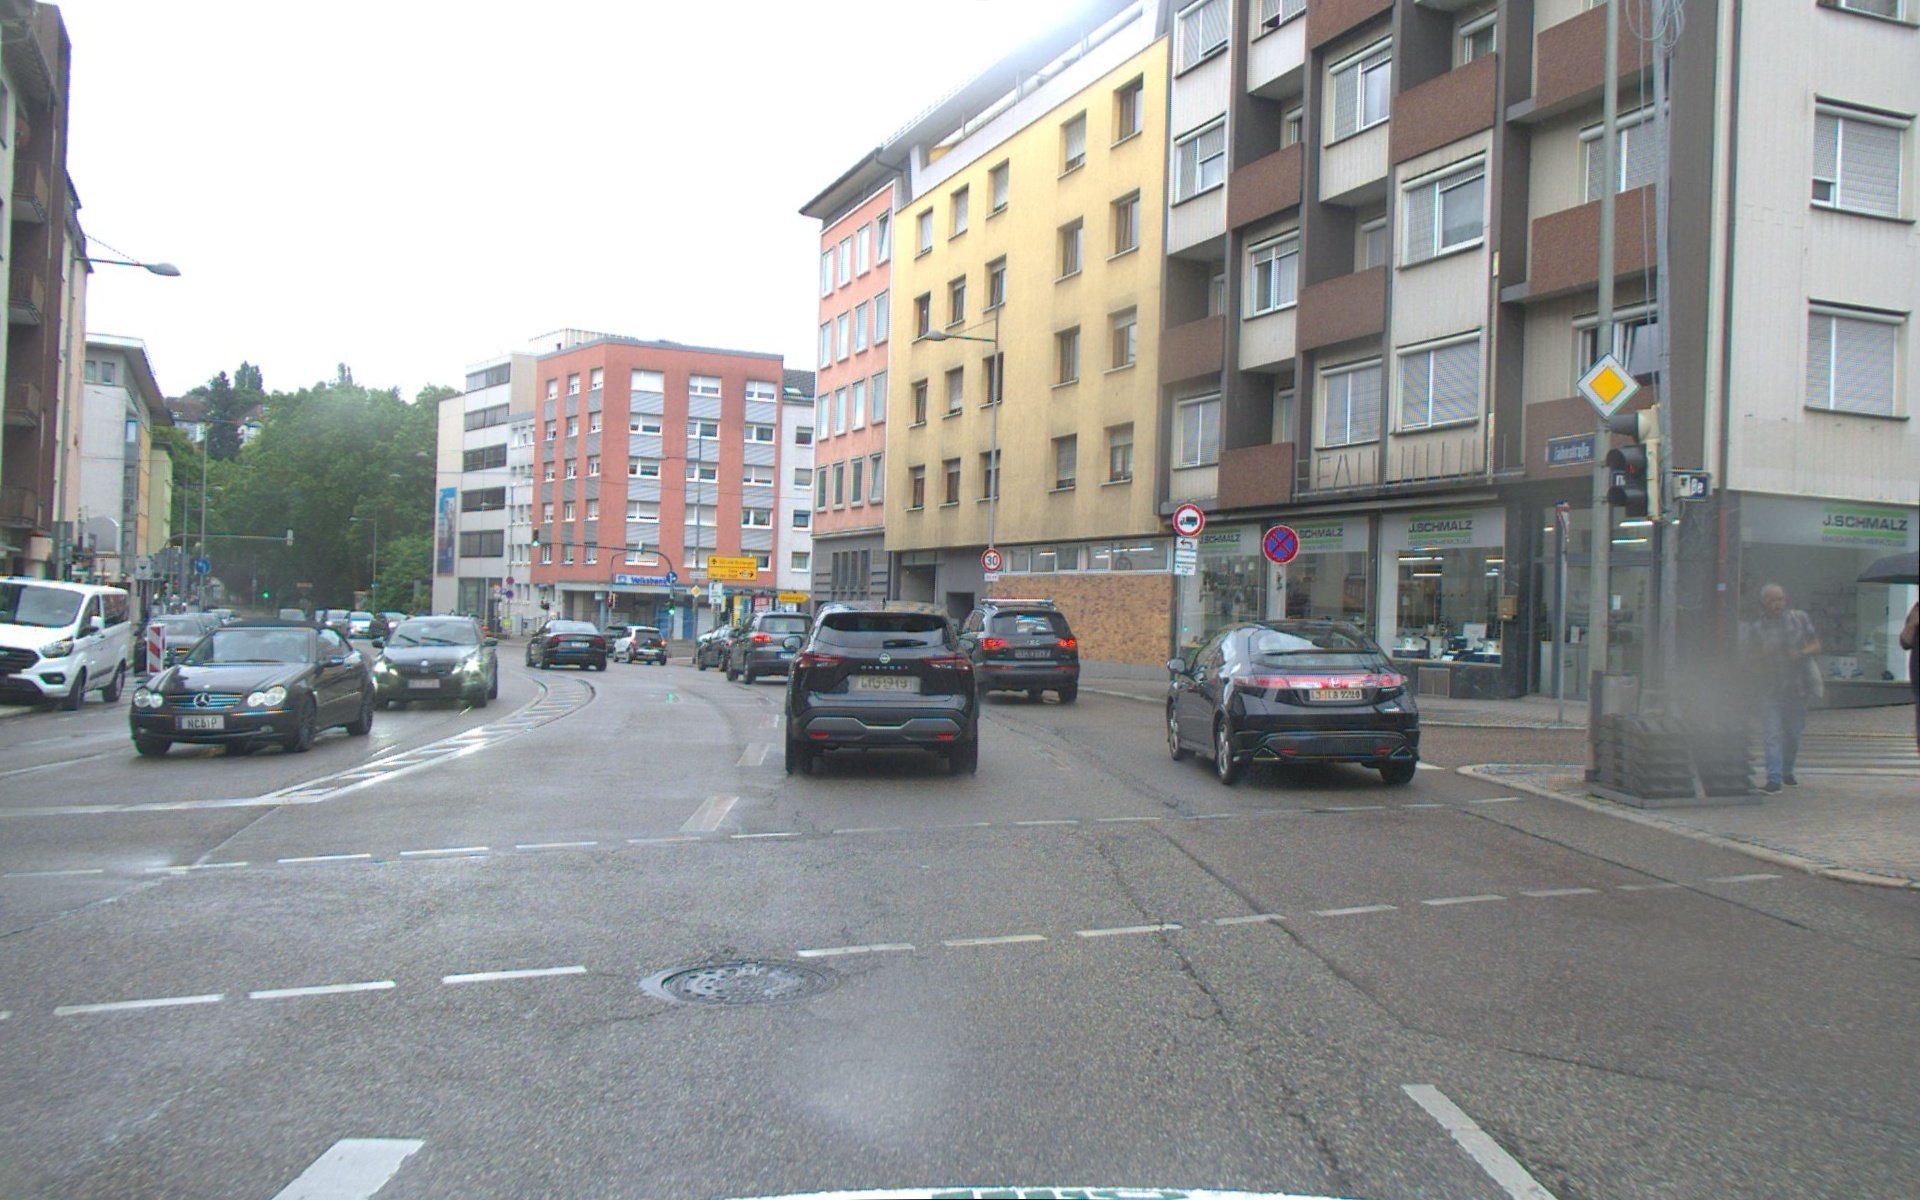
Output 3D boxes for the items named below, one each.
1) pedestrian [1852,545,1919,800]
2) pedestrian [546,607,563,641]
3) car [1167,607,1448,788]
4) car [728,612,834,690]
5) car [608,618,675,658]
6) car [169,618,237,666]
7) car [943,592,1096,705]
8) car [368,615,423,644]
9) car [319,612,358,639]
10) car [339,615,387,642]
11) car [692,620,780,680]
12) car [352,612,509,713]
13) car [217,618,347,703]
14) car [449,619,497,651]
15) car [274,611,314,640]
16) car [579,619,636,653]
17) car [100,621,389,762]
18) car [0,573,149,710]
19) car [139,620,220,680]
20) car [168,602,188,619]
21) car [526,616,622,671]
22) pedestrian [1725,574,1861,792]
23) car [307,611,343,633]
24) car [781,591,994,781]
[{"bbox_3d":[7.518,0.545,12.590,0.912,1.894,1.015,2,-3,-43],"label":"pedestrian"},{"bbox_3d":[-26.307,1.549,107.379,0.815,2.196,0.763,4,-2,-25],"label":"pedestrian"},{"bbox_3d":[3.196,0.847,16.014,1.748,1.523,4.055,0,-1,-2],"label":"car"},{"bbox_3d":[-4.241,1.149,38.736,1.913,1.714,3.984,0,-1,-15],"label":"car"},{"bbox_3d":[-13.417,1.575,69.526,1.966,1.512,3.972,4,-2,-23],"label":"car"},{"bbox_3d":[-26.020,1.444,56.989,1.881,1.581,4.599,1,-1,-22],"label":"car"},{"bbox_3d":[0.998,0.856,30.567,1.983,1.902,4.890,0,-1,-8],"label":"car"},{"bbox_3d":[-31.800,1.632,93.086,1.840,1.580,4.175,2,-1,-34],"label":"car"},{"bbox_3d":[-38.617,1.593,102.736,1.798,1.637,4.393,1,-2,-26],"label":"car"},{"bbox_3d":[-35.130,1.699,97.334,1.914,1.553,4.091,2,-2,-31],"label":"car"},{"bbox_3d":[-7.282,1.568,53.565,1.919,1.848,3.973,0,-1,-22],"label":"car"},{"bbox_3d":[-8.617,0.969,27.271,1.948,1.485,4.473,-1,-1,-11],"label":"car"},{"bbox_3d":[-12.408,1.065,30.450,1.693,1.424,3.581,-1,-1,-14],"label":"car"},{"bbox_3d":[-26.629,1.906,90.283,1.967,1.557,3.971,4,-2,-23],"label":"car"},{"bbox_3d":[-40.038,1.532,99.321,1.840,1.676,4.215,1,-1,-27],"label":"car"},{"bbox_3d":[-17.355,1.771,81.544,1.953,1.545,3.998,3,-1,-1],"label":"car"},{"bbox_3d":[-7.941,0.955,18.844,1.790,1.390,4.595,0,-1,-7],"label":"car"},{"bbox_3d":[-15.372,0.692,27.819,2.084,2.050,5.106,4,-3,-16],"label":"car"},{"bbox_3d":[-20.868,1.288,44.213,1.859,1.503,4.937,0,-1,-26],"label":"car"},{"bbox_3d":[-92.399,1.246,195.373,1.969,1.892,3.967,4,-2,-25],"label":"car"},{"bbox_3d":[-11.408,1.249,48.682,1.966,1.412,4.468,4,-2,-23],"label":"car"},{"bbox_3d":[6.799,0.673,13.544,0.775,1.718,0.822,-1,-2,13],"label":"pedestrian"},{"bbox_3d":[-42.643,1.501,111.060,1.799,1.459,4.359,1,-2,-27],"label":"car"},{"bbox_3d":[-0.825,0.776,16.537,1.858,1.657,3.995,1,-1,-6],"label":"car"}]
